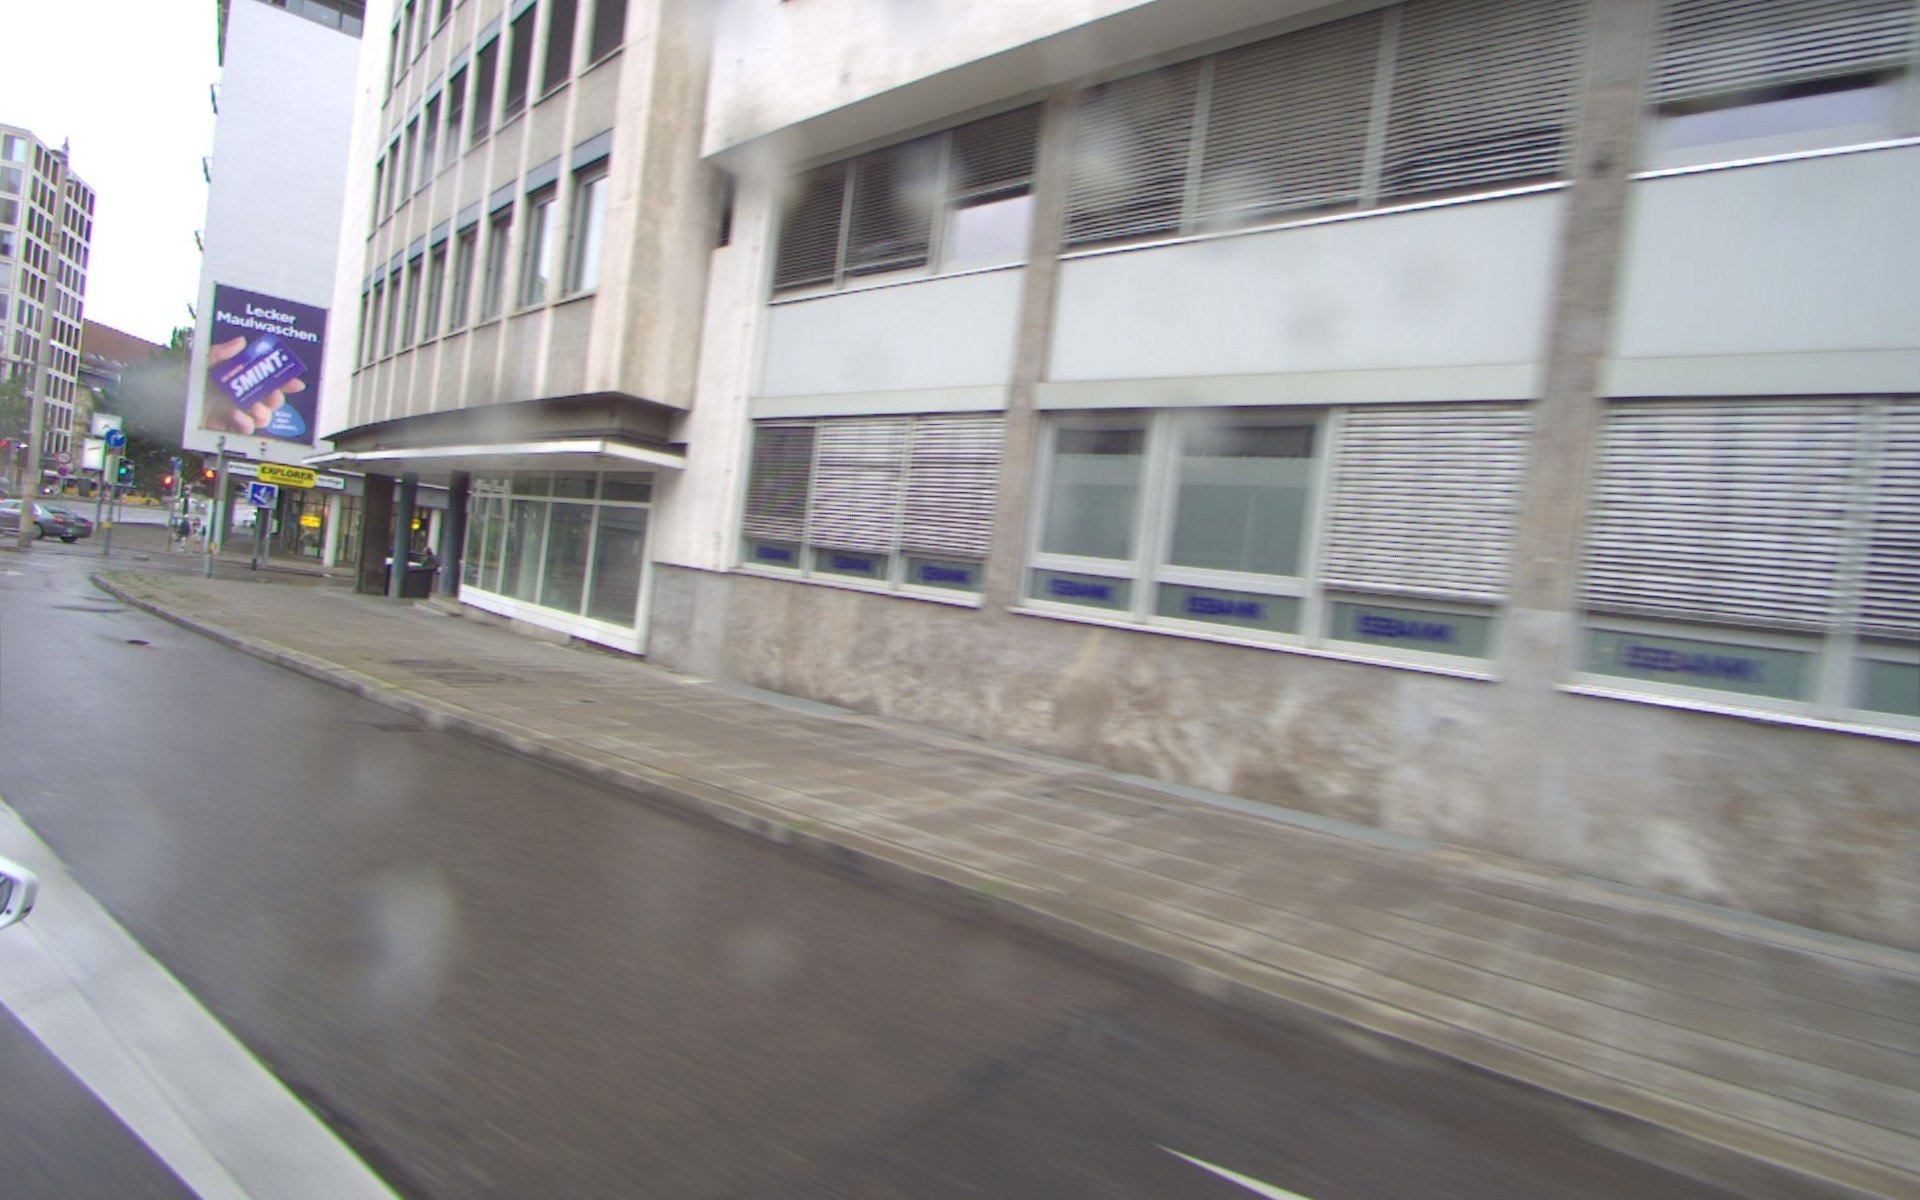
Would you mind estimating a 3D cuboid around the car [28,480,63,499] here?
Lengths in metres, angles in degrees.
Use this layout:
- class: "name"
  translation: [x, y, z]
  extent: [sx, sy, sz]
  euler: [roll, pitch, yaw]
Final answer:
- class: "car"
  translation: [-107.351, -12.940, 118.140]
  extent: [1.978, 1.727, 3.970]
  euler: [8, 0, -28]

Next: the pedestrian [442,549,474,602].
- class: "pedestrian"
  translation: [-18.474, -0.908, 37.030]
  extent: [0.724, 1.820, 0.731]
  euler: [7, 0, -40]

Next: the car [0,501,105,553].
- class: "car"
  translation: [-37.217, -3.015, 40.158]
  extent: [4.280, 1.527, 1.916]
  euler: [9, -1, -5]

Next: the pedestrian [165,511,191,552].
- class: "pedestrian"
  translation: [-34.119, -2.991, 43.909]
  extent: [0.724, 1.688, 0.683]
  euler: [7, -1, -40]

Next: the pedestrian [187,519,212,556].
- class: "pedestrian"
  translation: [-33.585, -2.760, 44.408]
  extent: [0.724, 1.542, 0.751]
  euler: [7, -1, -40]

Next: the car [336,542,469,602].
- class: "car"
  translation: [-22.598, -1.118, 40.834]
  extent: [4.486, 1.771, 1.983]
  euler: [8, -1, -32]

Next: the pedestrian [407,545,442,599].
- class: "pedestrian"
  translation: [-19.088, -1.000, 35.866]
  extent: [0.809, 1.820, 0.702]
  euler: [7, 0, -40]

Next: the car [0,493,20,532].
- class: "car"
  translation: [-47.488, -4.406, 49.001]
  extent: [2.039, 1.786, 4.308]
  euler: [9, -2, -40]
